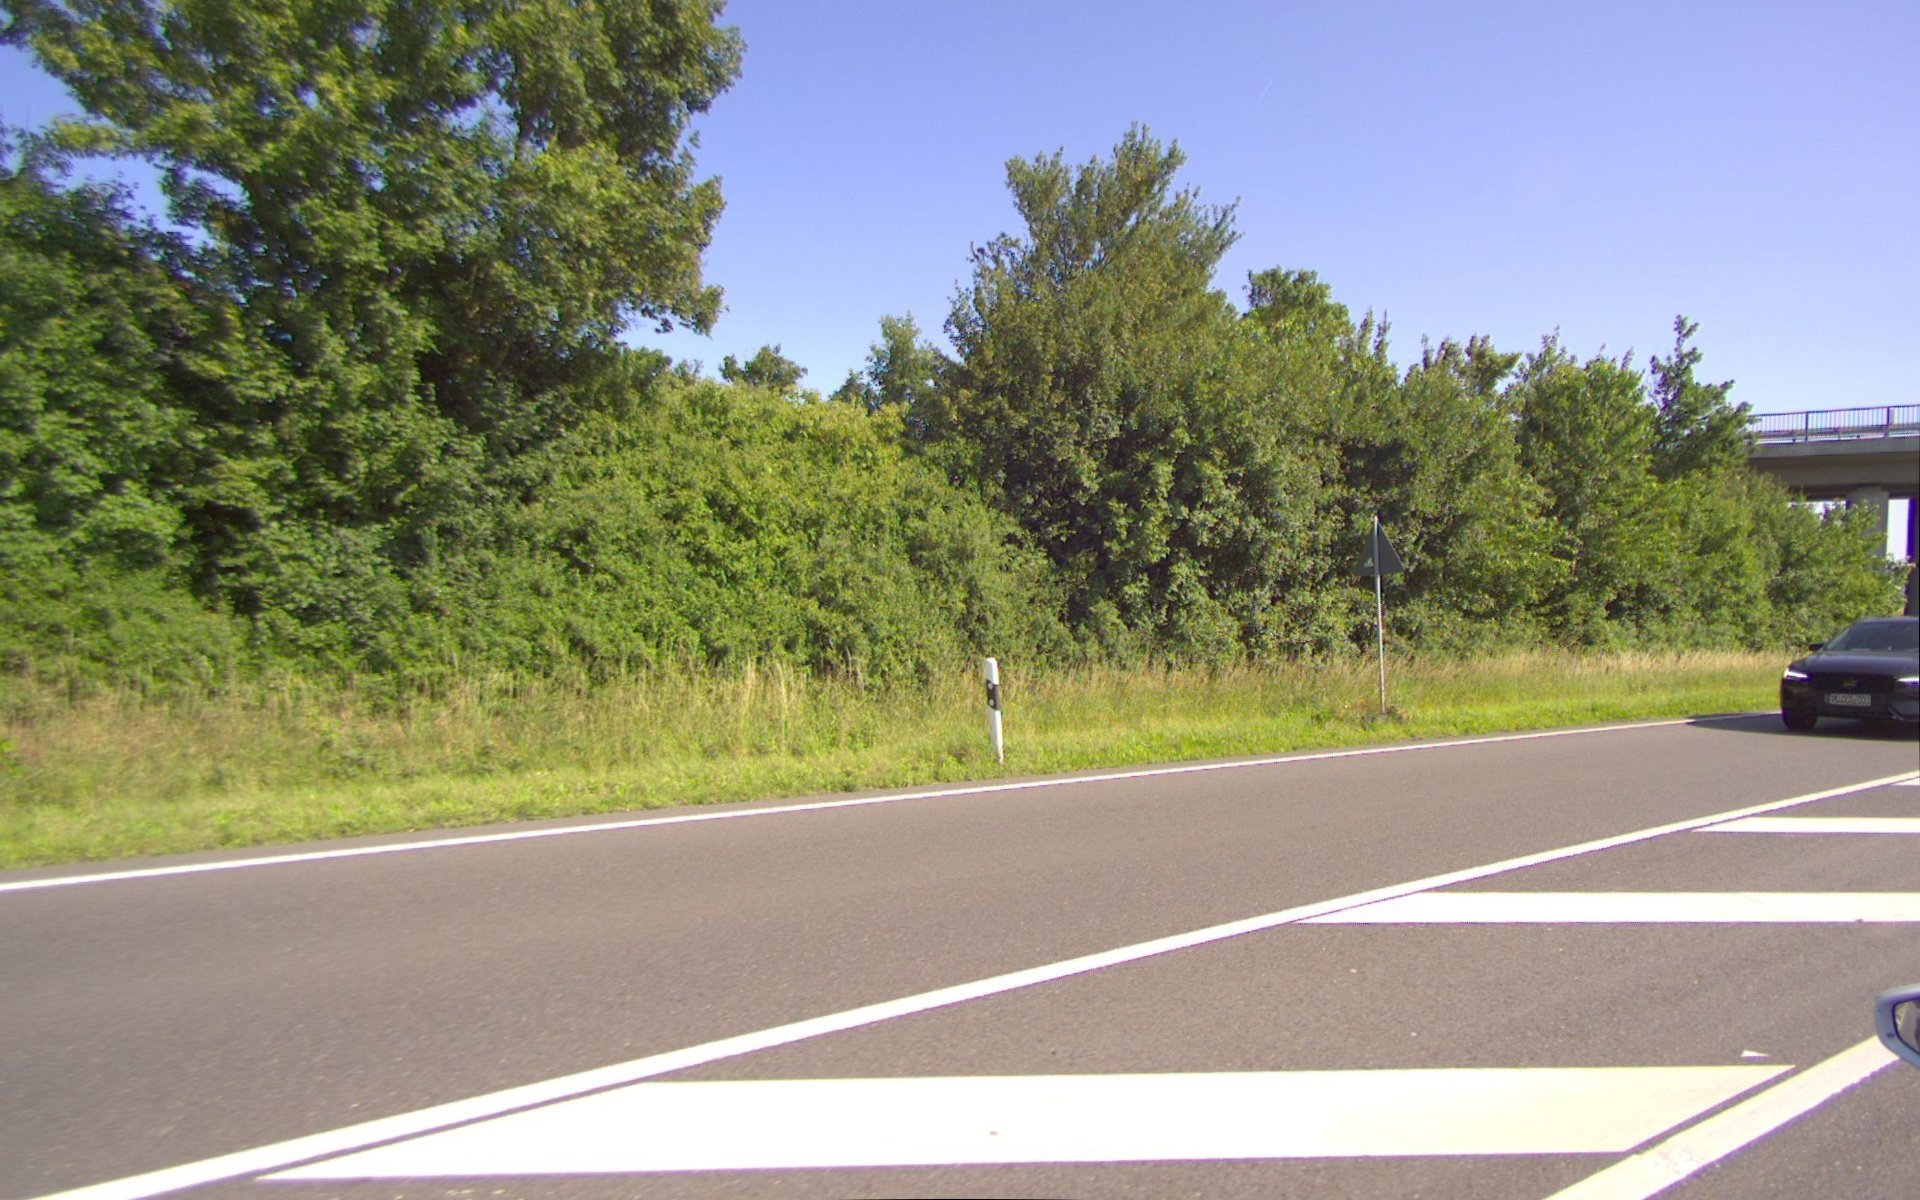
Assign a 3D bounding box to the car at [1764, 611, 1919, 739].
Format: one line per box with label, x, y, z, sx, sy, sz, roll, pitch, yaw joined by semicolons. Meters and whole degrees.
car;13.609;0.990;14.478;4.382;1.614;1.911;1;-1;-33
